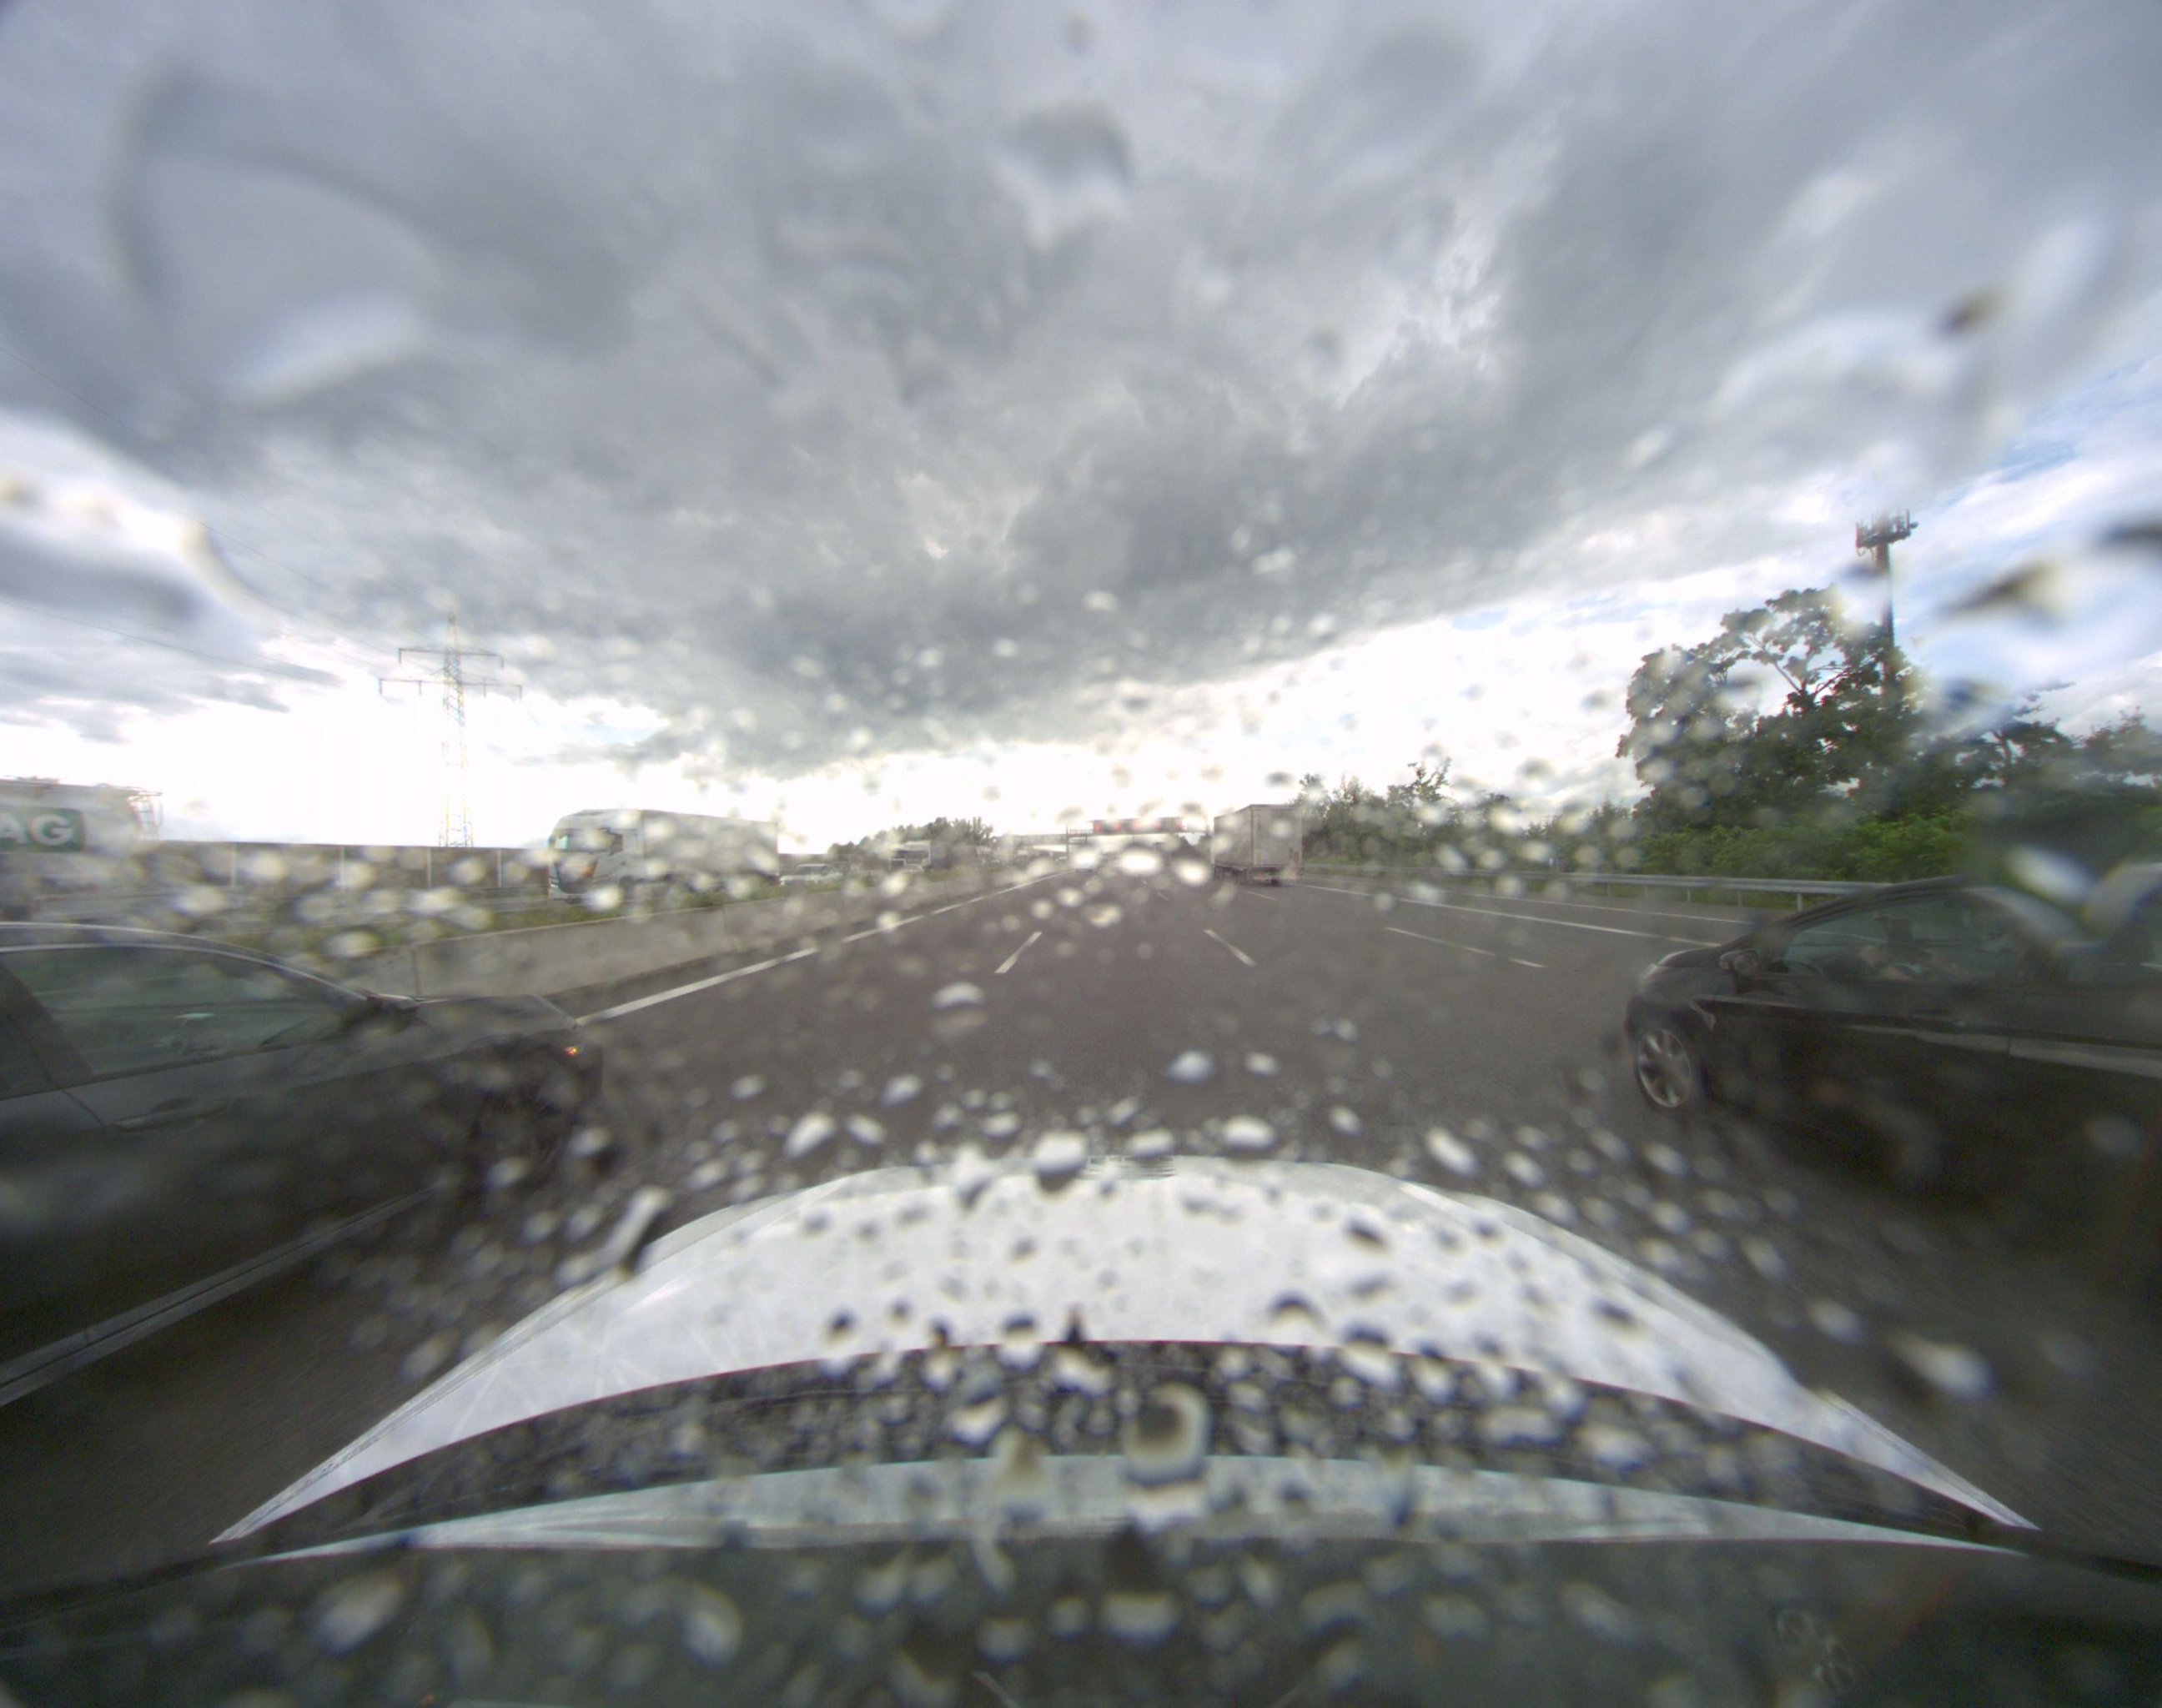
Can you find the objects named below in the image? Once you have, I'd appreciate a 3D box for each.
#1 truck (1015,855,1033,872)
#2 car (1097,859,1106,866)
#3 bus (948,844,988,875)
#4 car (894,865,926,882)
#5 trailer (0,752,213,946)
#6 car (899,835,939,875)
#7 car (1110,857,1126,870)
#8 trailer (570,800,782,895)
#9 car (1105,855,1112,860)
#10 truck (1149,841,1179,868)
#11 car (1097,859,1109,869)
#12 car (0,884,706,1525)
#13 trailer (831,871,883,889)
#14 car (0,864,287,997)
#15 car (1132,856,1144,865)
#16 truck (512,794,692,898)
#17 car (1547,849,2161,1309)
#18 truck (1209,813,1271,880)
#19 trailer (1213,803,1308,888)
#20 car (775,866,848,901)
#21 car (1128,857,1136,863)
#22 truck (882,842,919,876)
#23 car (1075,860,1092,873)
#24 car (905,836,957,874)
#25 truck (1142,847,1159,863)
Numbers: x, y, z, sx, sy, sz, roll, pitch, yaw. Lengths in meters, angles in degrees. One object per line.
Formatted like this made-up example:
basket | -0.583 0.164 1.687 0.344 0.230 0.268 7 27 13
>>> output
truck | -12.970 2.118 186.265 2.872 3.962 7.546 0 0 5
car | 4.243 1.796 167.354 1.766 1.441 4.055 -1 0 0
bus | -14.096 0.657 102.601 2.879 3.611 12.763 0 0 2
car | -15.313 1.706 73.028 1.781 1.455 4.566 0 0 2
trailer | -25.478 -0.116 15.790 3.646 4.237 12.472 0 0 2
car | -17.630 0.107 89.084 2.971 4.150 6.044 0 0 2
car | 4.194 1.034 92.819 1.766 1.441 4.056 -1 0 1
trailer | -19.996 -0.244 41.954 3.645 4.108 13.407 0 0 3
car | 7.851 1.025 231.665 1.765 1.441 4.058 -1 0 2
truck | 13.972 0.145 137.991 4.164 4.288 12.618 0 0 2
car | 3.204 1.410 120.097 1.766 1.441 4.056 -1 0 1
car | -3.385 0.890 2.795 1.754 1.369 5.061 -1 0 1
trailer | -15.036 1.718 54.882 2.085 1.070 4.760 0 0 1
car | -17.202 1.162 13.278 2.270 1.968 6.092 0 0 4
car | 9.248 1.037 133.273 1.828 1.441 4.058 -1 0 2
truck | -20.289 -0.283 35.082 3.646 4.048 6.528 0 0 2
car | 3.981 0.710 4.147 1.442 1.441 3.164 -1 0 1
truck | 10.072 -0.439 52.187 2.949 4.020 6.594 -1 0 3
trailer | 9.758 -0.408 46.067 2.949 4.020 14.129 -1 0 3
car | -12.230 1.285 37.297 1.781 1.454 4.565 0 0 1
car | 11.636 1.318 187.166 1.828 1.441 4.058 -1 0 2
truck | -22.384 0.611 101.244 2.889 4.116 6.625 0 0 2
car | 0.331 1.381 90.230 1.766 1.441 3.875 -1 0 1
car | -17.441 0.145 95.801 2.971 4.124 14.400 0 0 2
truck | 18.480 0.276 217.817 4.227 4.176 11.997 0 0 3
